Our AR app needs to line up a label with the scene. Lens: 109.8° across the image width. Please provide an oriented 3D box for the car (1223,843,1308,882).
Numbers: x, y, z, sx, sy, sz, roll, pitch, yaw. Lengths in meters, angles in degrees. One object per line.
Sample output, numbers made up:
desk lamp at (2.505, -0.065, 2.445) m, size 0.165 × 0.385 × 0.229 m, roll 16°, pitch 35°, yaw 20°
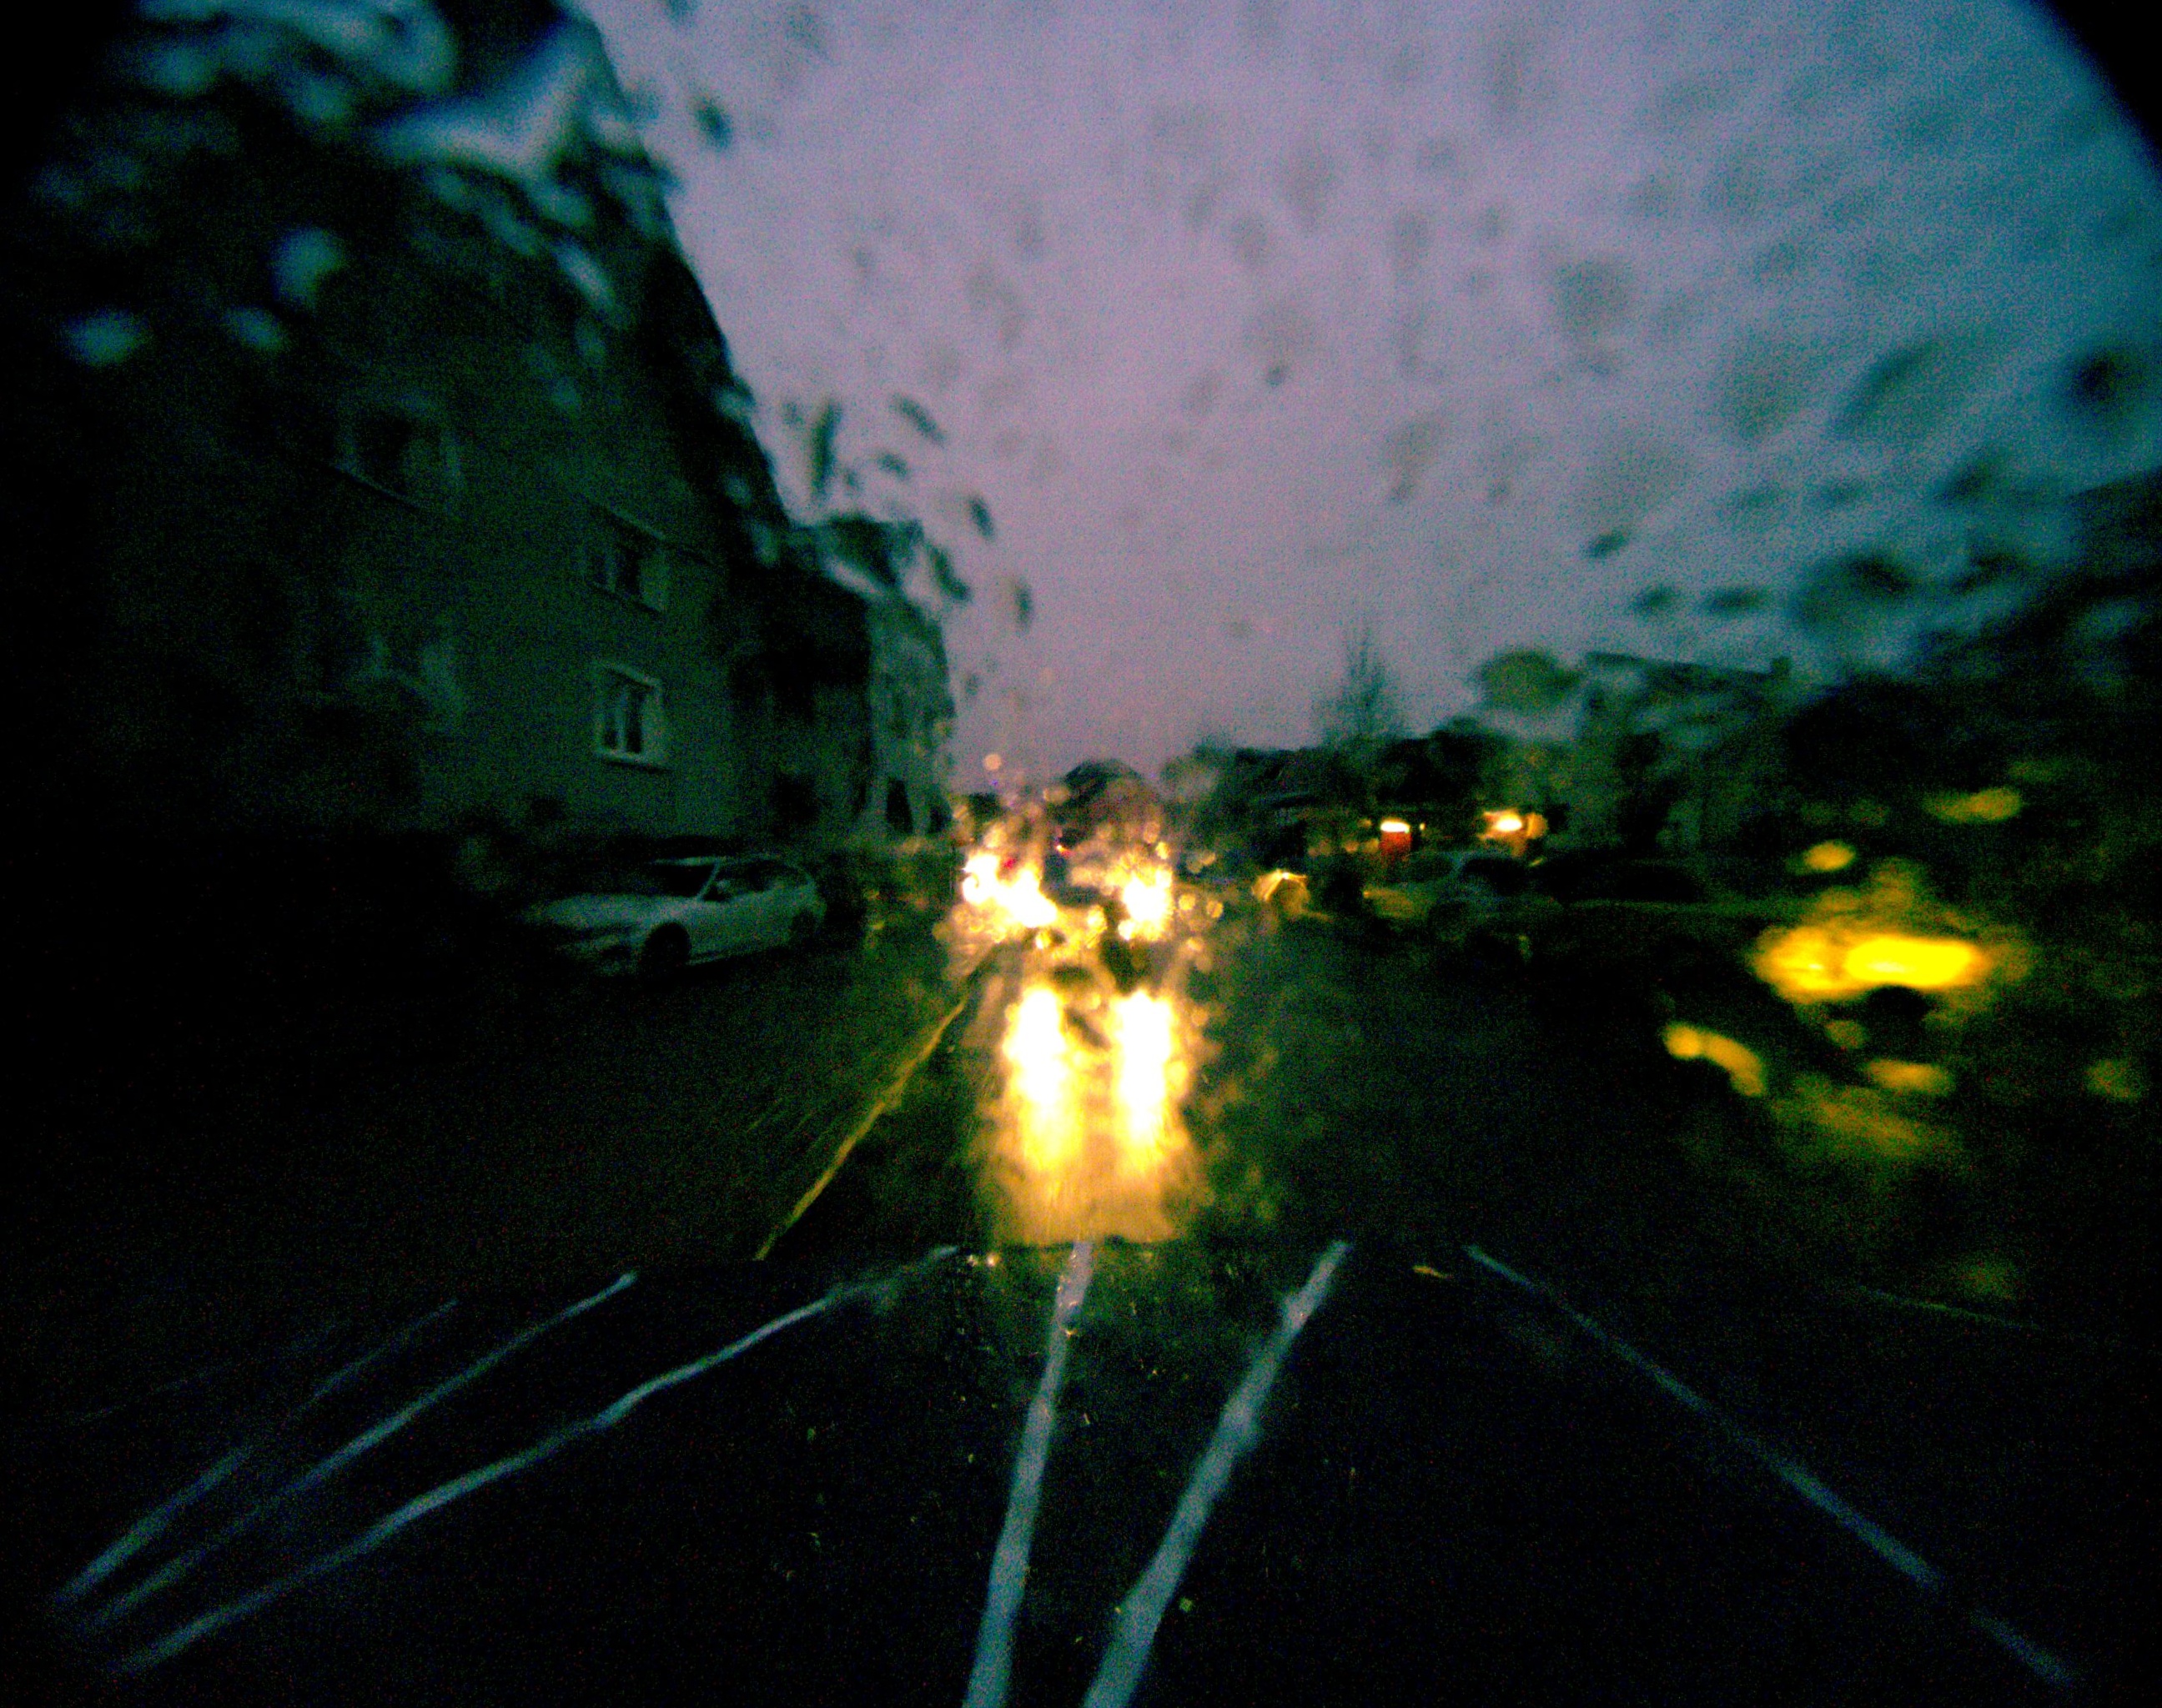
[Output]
car at (9.254, 0.407, 38.221) m, size 3.993 × 1.753 × 1.435 m, roll -3°, pitch 1°, yaw 14°

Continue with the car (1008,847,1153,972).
car at (0.004, 0.758, 12.597) m, size 1.998 × 1.720 × 3.999 m, roll -1°, pitch 1°, yaw 0°

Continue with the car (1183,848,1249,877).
car at (8.094, 0.492, 45.844) m, size 3.839 × 1.537 × 2.001 m, roll -2°, pitch 1°, yaw 8°

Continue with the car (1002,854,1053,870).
car at (-4.782, 0.706, 67.825) m, size 4.005 × 1.291 × 1.996 m, roll -2°, pitch 1°, yaw -26°

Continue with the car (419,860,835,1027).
car at (-5.200, 0.905, 9.701) m, size 1.933 × 1.477 × 4.699 m, roll -2°, pitch 1°, yaw 9°

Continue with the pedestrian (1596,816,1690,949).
pedestrian at (8.785, 0.442, 11.911) m, size 0.902 × 2.002 × 0.791 m, roll -1°, pitch 0°, yaw 10°

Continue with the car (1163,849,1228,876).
car at (7.344, 0.543, 48.513) m, size 3.994 × 1.538 × 2.001 m, roll -2°, pitch 1°, yaw 10°

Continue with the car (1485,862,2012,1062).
car at (6.264, 0.848, 7.990) m, size 1.698 × 1.423 × 4.377 m, roll -2°, pitch 0°, yaw 1°

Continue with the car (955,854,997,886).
car at (-7.052, 1.038, 50.771) m, size 2.001 × 2.002 × 3.994 m, roll -2°, pitch 1°, yaw -18°

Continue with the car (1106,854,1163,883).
car at (2.905, 0.771, 41.932) m, size 1.983 × 1.438 × 3.909 m, roll -2°, pitch 0°, yaw -14°

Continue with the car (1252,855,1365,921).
car at (6.112, 0.848, 20.945) m, size 1.840 × 1.526 × 4.138 m, roll -2°, pitch 0°, yaw 0°

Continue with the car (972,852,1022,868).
car at (-7.783, 0.567, 70.550) m, size 4.249 × 1.291 × 1.997 m, roll -2°, pitch 1°, yaw -17°

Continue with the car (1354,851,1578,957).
car at (6.517, 0.748, 13.376) m, size 1.880 × 1.526 × 3.670 m, roll -2°, pitch 1°, yaw -4°

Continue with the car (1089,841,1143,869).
car at (2.632, 0.080, 58.386) m, size 3.997 × 2.002 × 2.000 m, roll -2°, pitch 1°, yaw 1°

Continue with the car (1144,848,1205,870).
car at (6.300, 0.322, 51.473) m, size 3.995 × 1.291 × 2.001 m, roll -2°, pitch 1°, yaw 5°
